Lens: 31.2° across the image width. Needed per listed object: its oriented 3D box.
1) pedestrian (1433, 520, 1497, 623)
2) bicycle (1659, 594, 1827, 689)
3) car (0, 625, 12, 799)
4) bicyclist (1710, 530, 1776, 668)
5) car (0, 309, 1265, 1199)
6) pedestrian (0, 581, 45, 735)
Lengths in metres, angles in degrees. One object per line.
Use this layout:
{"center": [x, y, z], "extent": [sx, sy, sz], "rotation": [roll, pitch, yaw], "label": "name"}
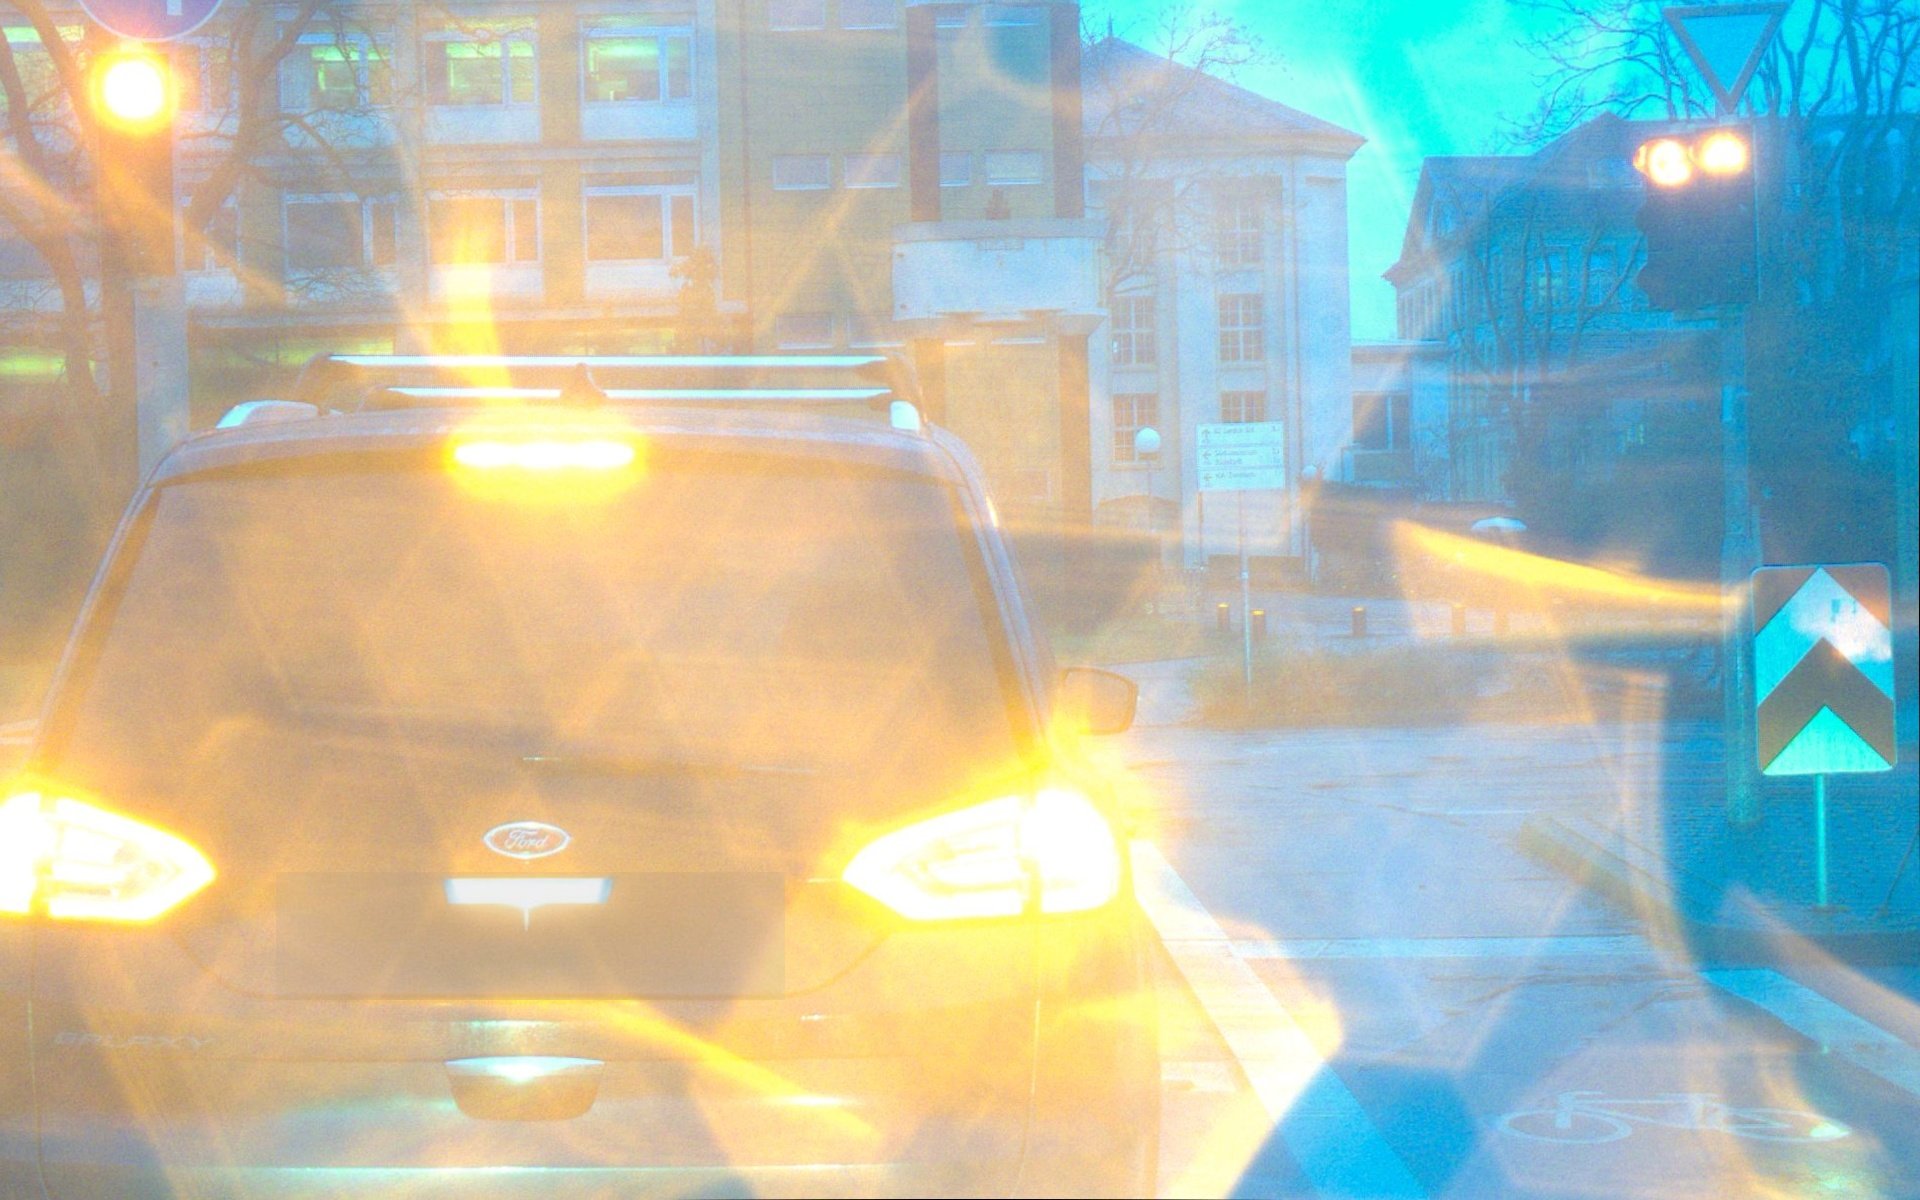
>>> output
{"center": [8.112, -0.463, 55.263], "extent": [0.720, 1.622, 0.761], "rotation": [-1, 1, 32], "label": "pedestrian"}
{"center": [9.246, 0.486, 40.575], "extent": [1.884, 1.044, 0.659], "rotation": [-2, 1, 15], "label": "bicycle"}
{"center": [-9.628, 0.908, 25.378], "extent": [4.686, 1.297, 1.938], "rotation": [-2, 0, 13], "label": "car"}
{"center": [9.238, -0.019, 40.555], "extent": [0.685, 1.594, 0.659], "rotation": [-2, 1, 15], "label": "bicyclist"}
{"center": [-0.626, 0.495, 6.568], "extent": [1.993, 1.783, 4.000], "rotation": [1, 1, -1], "label": "car"}
{"center": [-12.218, 0.734, 42.823], "extent": [1.002, 1.836, 1.138], "rotation": [-2, 3, 23], "label": "pedestrian"}
